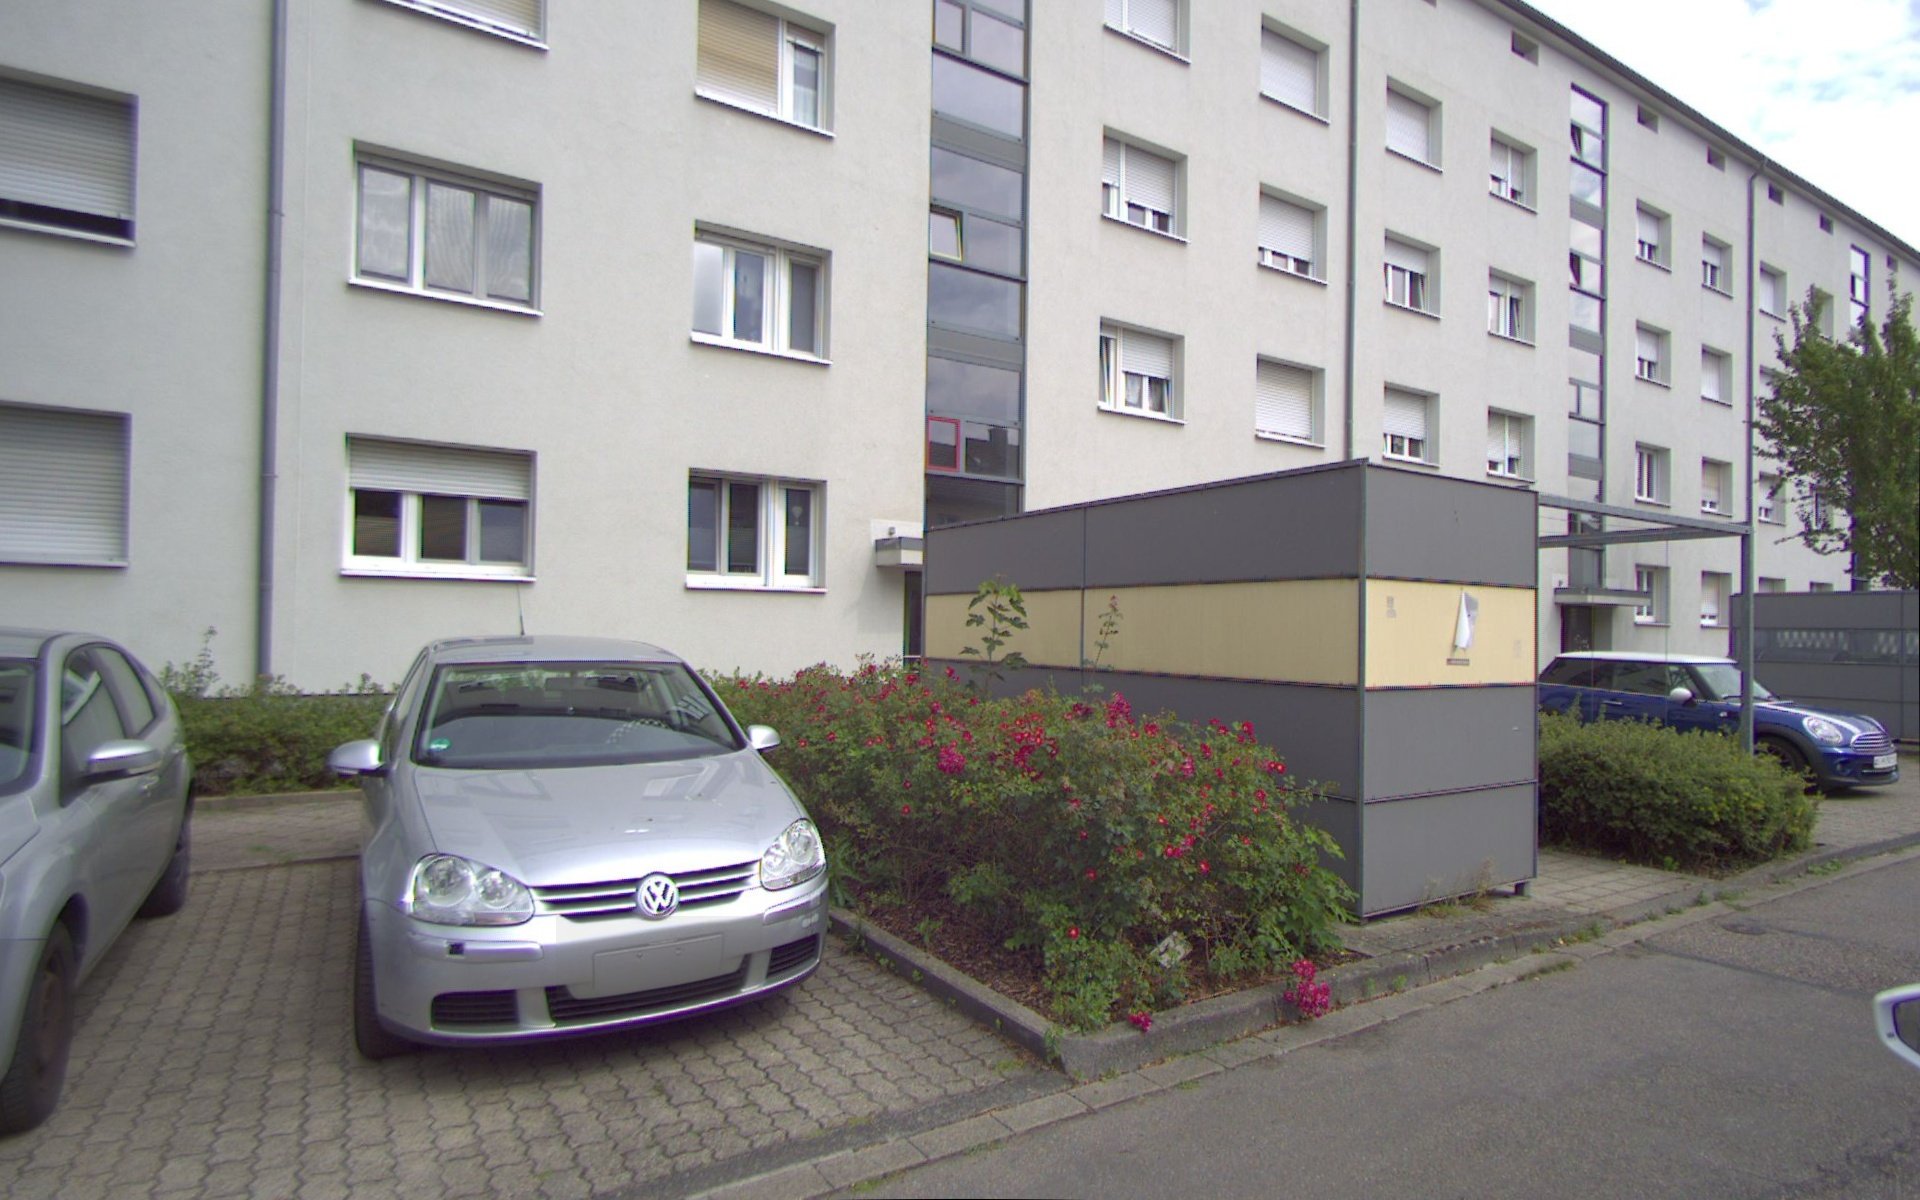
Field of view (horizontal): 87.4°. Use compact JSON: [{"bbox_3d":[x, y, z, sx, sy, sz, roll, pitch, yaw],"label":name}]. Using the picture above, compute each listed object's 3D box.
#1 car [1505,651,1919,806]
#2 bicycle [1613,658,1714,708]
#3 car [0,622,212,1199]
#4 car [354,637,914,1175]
[{"bbox_3d":[8.603,1.352,11.771,1.632,1.480,3.621,2,-3,-28],"label":"car"},{"bbox_3d":[15.541,1.826,22.230,1.775,1.038,0.479,0,-1,18],"label":"bicycle"},{"bbox_3d":[-4.078,0.853,3.646,1.762,1.525,4.031,2,-3,-31],"label":"car"},{"bbox_3d":[-1.963,0.939,4.993,1.762,1.483,4.031,2,-3,-31],"label":"car"}]
